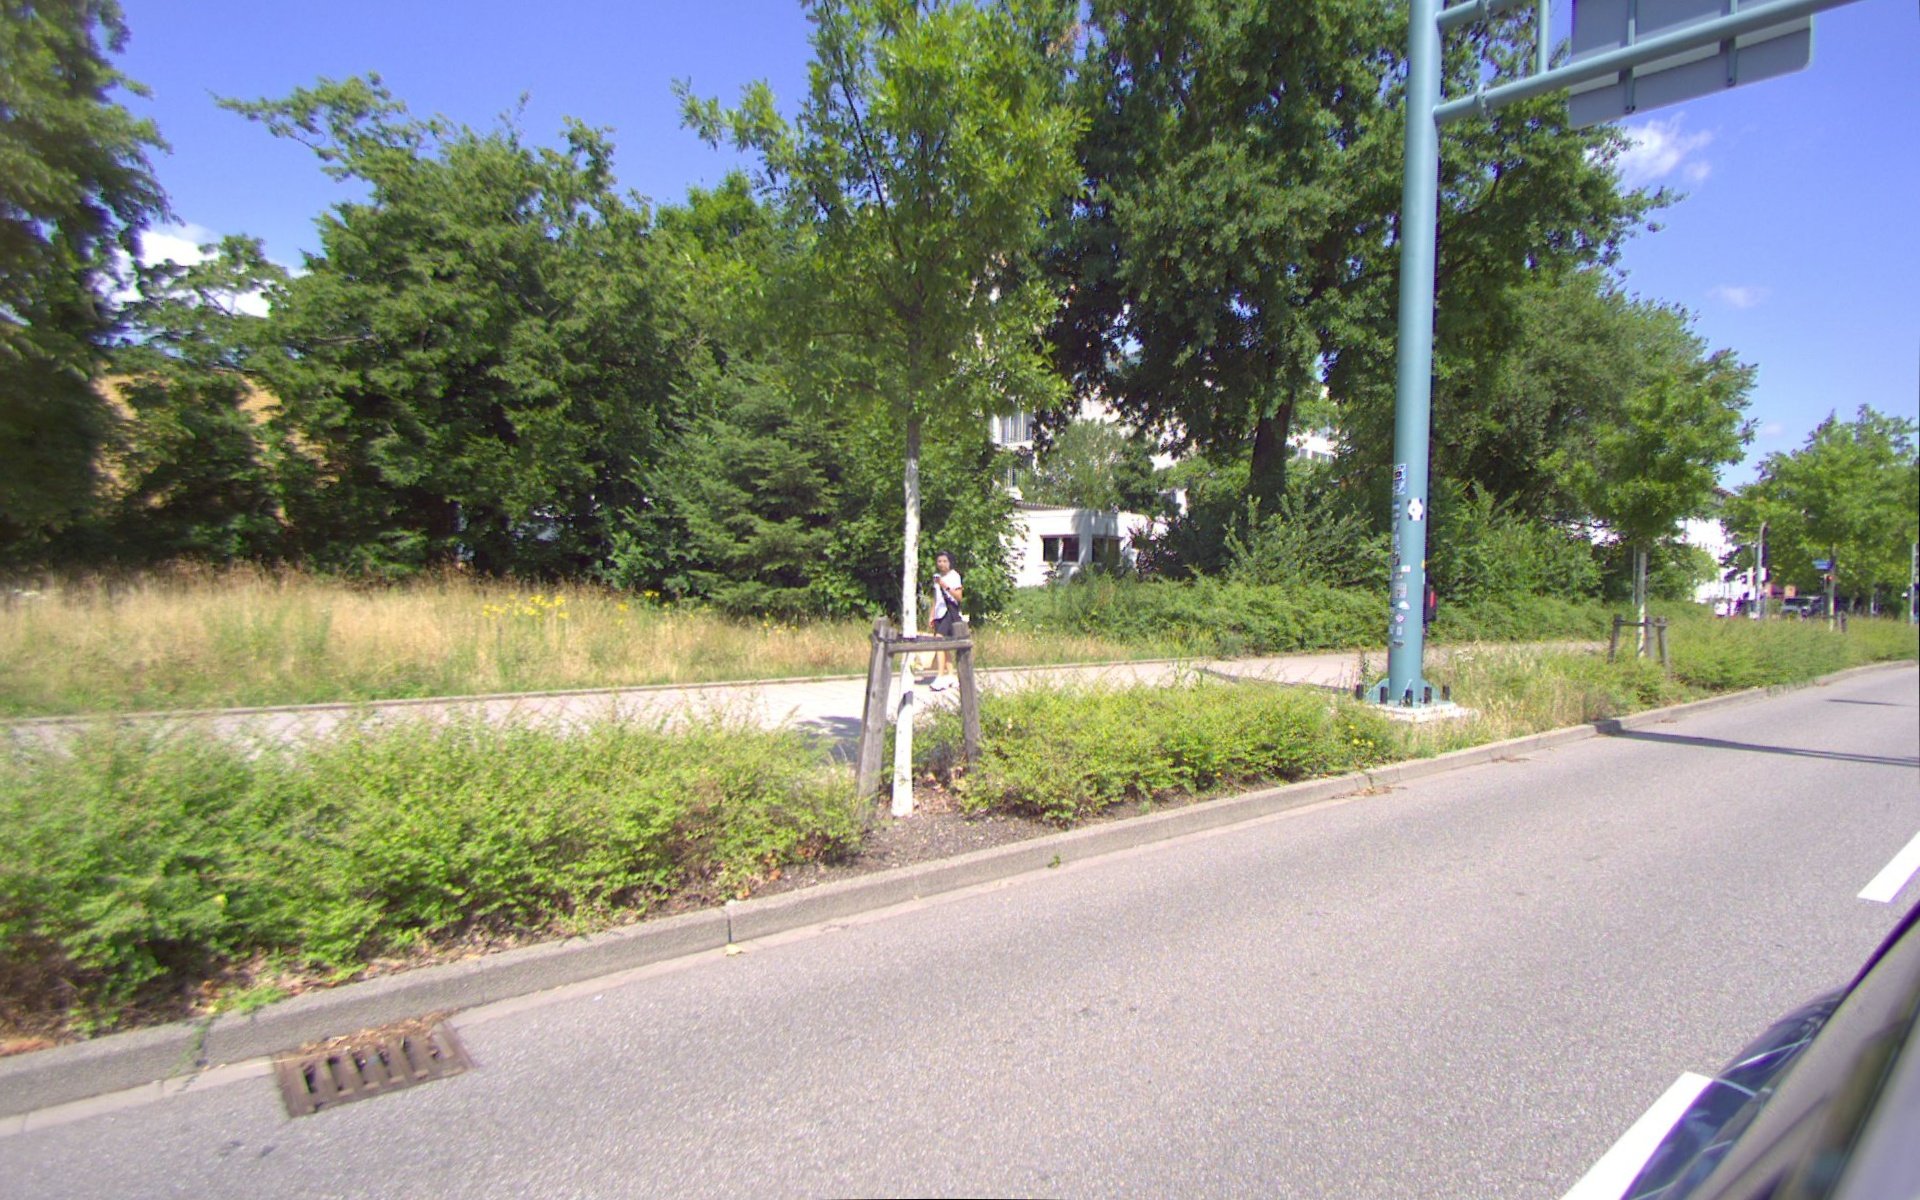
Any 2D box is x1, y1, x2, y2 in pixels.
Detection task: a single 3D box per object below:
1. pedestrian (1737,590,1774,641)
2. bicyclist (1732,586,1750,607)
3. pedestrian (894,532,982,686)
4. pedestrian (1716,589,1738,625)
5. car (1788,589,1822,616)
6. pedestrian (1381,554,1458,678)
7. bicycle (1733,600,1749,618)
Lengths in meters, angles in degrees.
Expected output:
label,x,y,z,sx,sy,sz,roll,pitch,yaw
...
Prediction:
label,x,y,z,sx,sy,sz,roll,pitch,yaw
pedestrian,27.677,0.526,35.203,0.913,1.743,0.815,1,1,-39
bicyclist,55.431,-0.261,71.823,0.967,1.462,1.062,1,1,38
pedestrian,-0.266,0.094,12.014,0.733,1.743,0.724,1,1,-39
pedestrian,41.440,0.381,54.686,0.875,1.896,0.958,1,1,39
car,66.599,0.198,79.735,1.992,2.080,4.166,2,1,41
pedestrian,6.720,0.219,14.800,0.822,1.743,0.718,1,1,-39
bicycle,55.510,0.630,71.954,0.881,1.267,2.136,1,1,38
